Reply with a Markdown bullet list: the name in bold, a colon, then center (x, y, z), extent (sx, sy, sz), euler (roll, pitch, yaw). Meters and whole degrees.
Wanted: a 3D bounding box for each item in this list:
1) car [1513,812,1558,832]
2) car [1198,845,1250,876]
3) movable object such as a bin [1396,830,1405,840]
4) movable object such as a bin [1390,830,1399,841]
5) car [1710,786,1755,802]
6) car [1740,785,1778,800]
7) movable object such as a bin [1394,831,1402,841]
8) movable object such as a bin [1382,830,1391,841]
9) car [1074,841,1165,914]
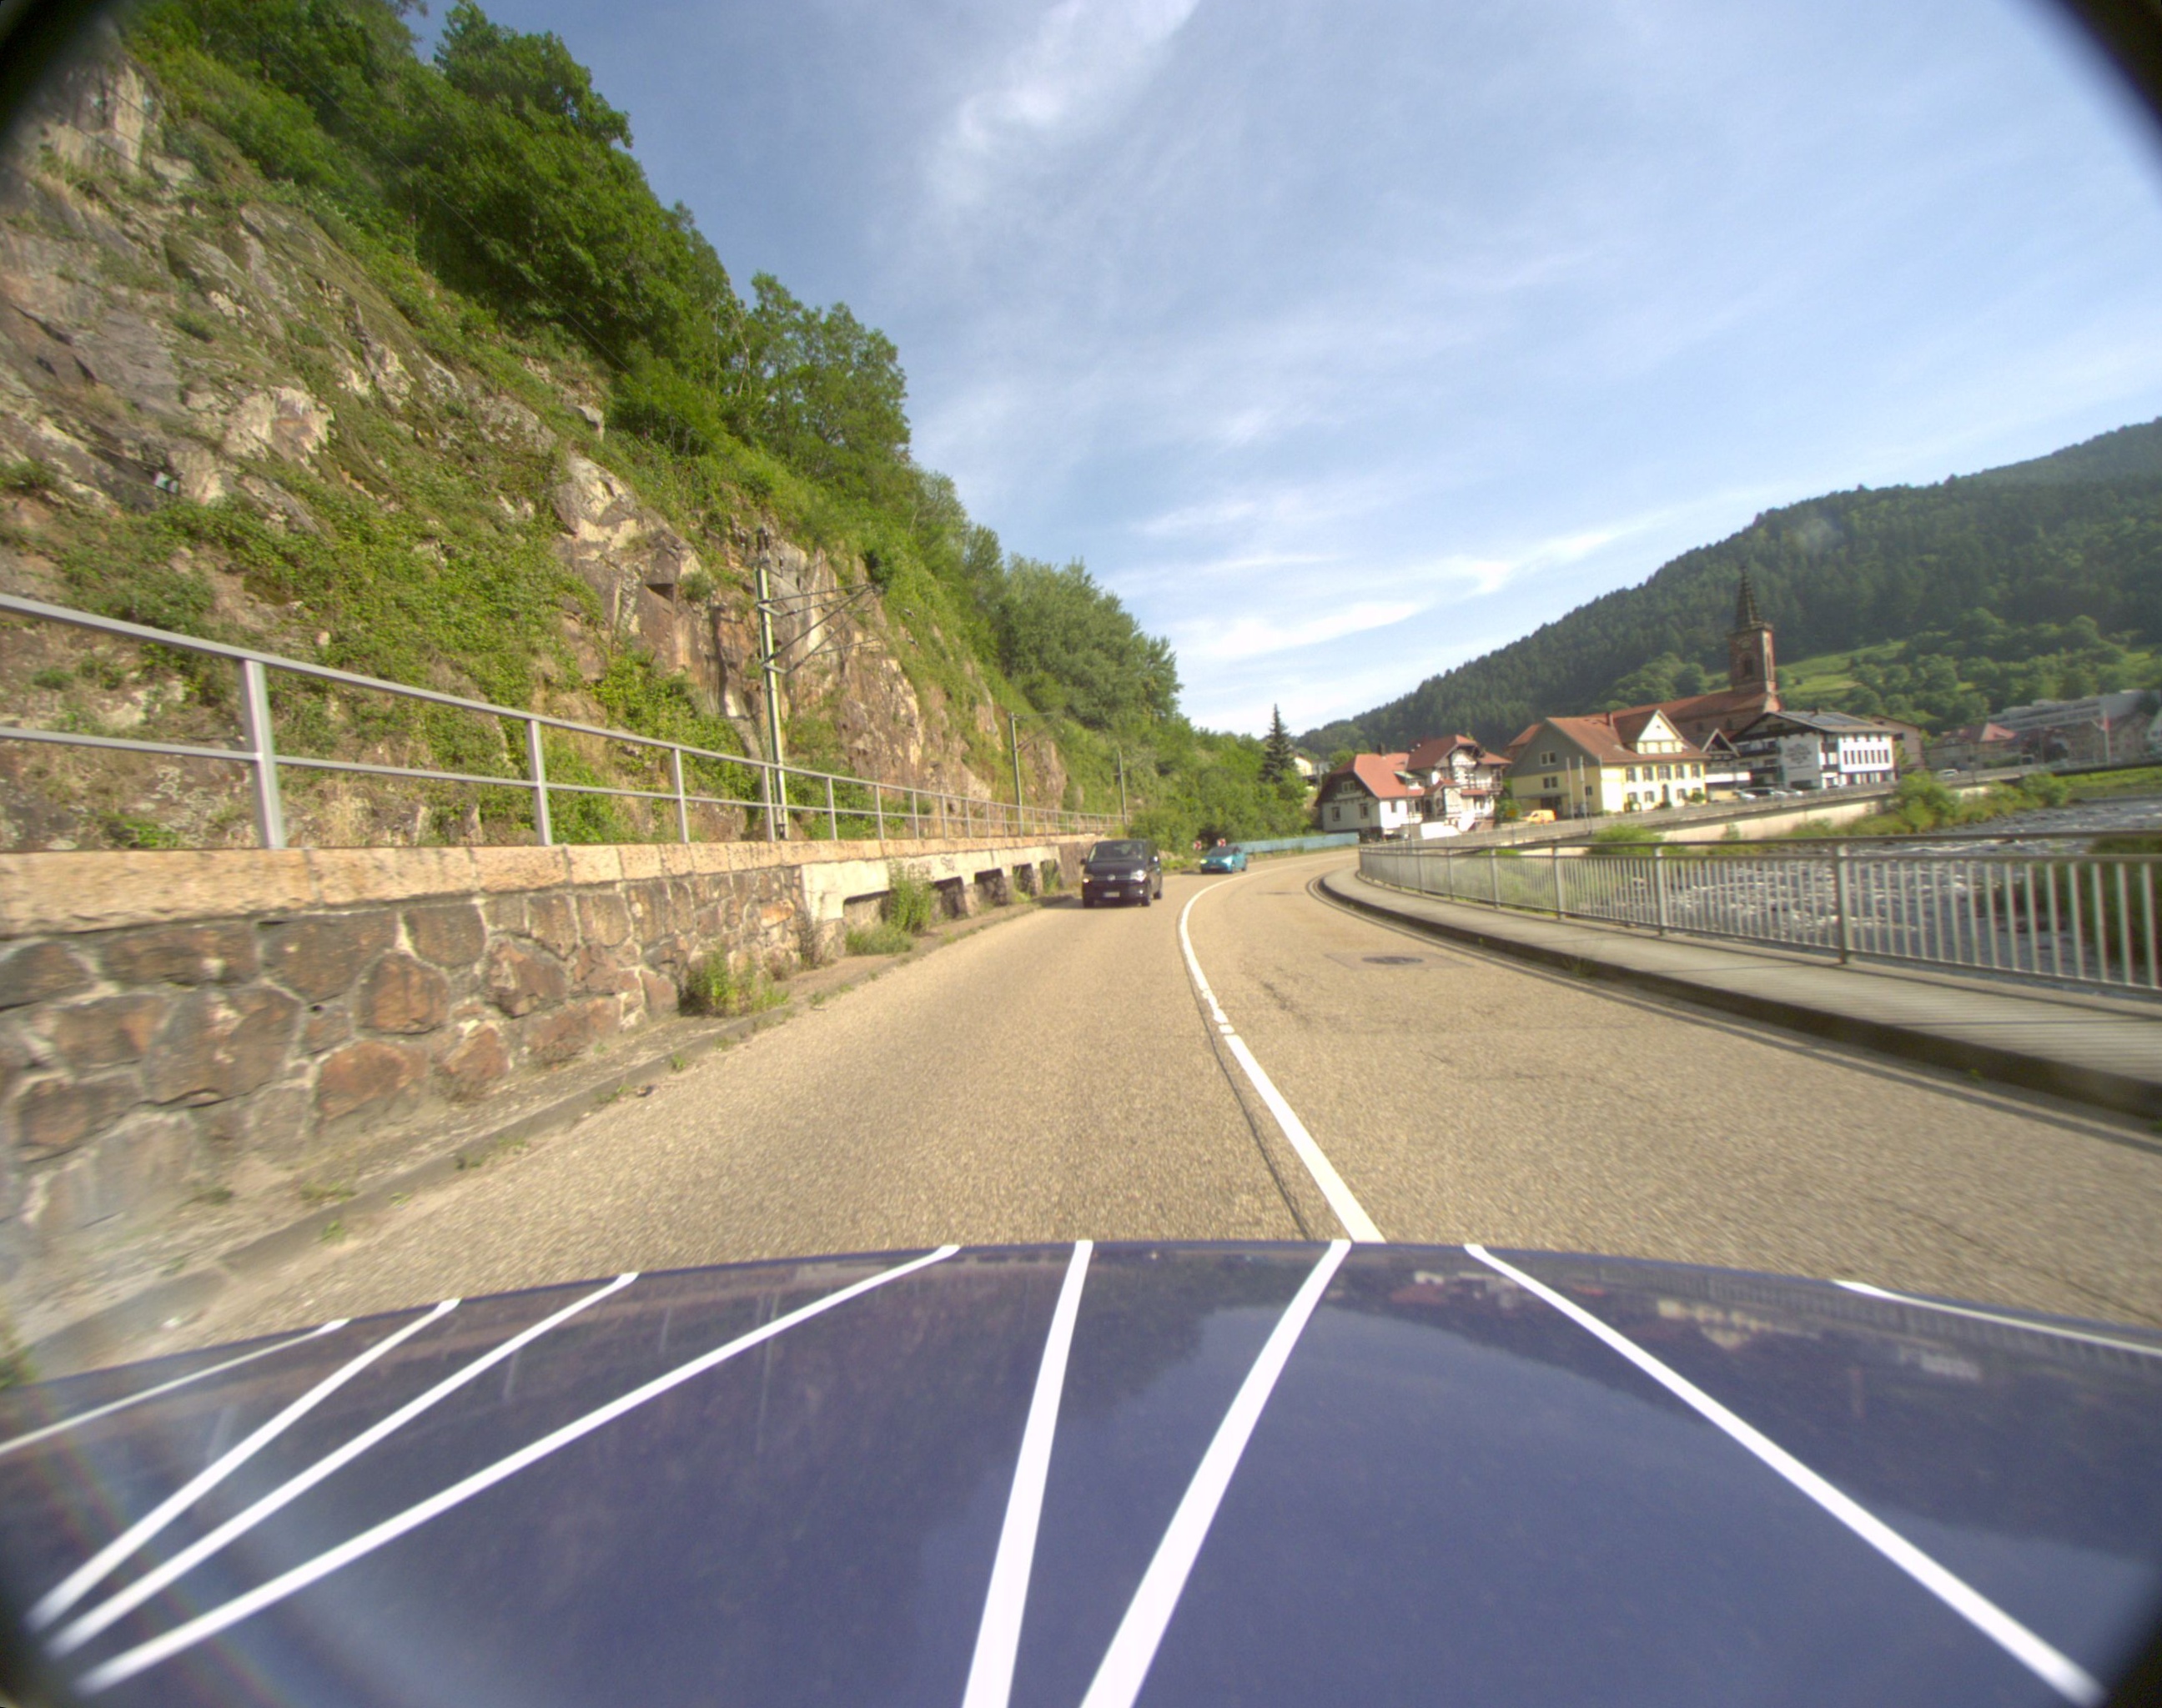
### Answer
- **car**: center (52.421, -3.738, 87.582), extent (4.839, 1.986, 1.911), euler (-4, 0, -24)
- **car**: center (8.109, 0.358, 42.843), extent (1.680, 1.513, 3.872), euler (-3, 0, 29)
- **movable object such as a bin**: center (32.137, -1.863, 76.351), extent (0.653, 0.931, 0.472), euler (-5, 1, -29)
- **movable object such as a bin**: center (31.899, -1.907, 77.300), extent (0.753, 1.056, 0.478), euler (-5, 1, -29)
- **car**: center (90.744, -8.351, 105.952), extent (1.715, 1.948, 4.446), euler (-5, 6, -22)
- **car**: center (93.980, -8.511, 105.365), extent (1.372, 1.883, 3.750), euler (-5, 5, -22)
- **movable object such as a bin**: center (32.072, -1.835, 76.876), extent (0.548, 0.895, 0.368), euler (-5, 1, -35)
- **movable object such as a bin**: center (31.255, -1.857, 77.741), extent (0.753, 1.056, 0.478), euler (-5, 1, -29)
- **car**: center (1.286, 0.602, 22.916), extent (1.885, 1.952, 4.870), euler (-1, 1, 13)
